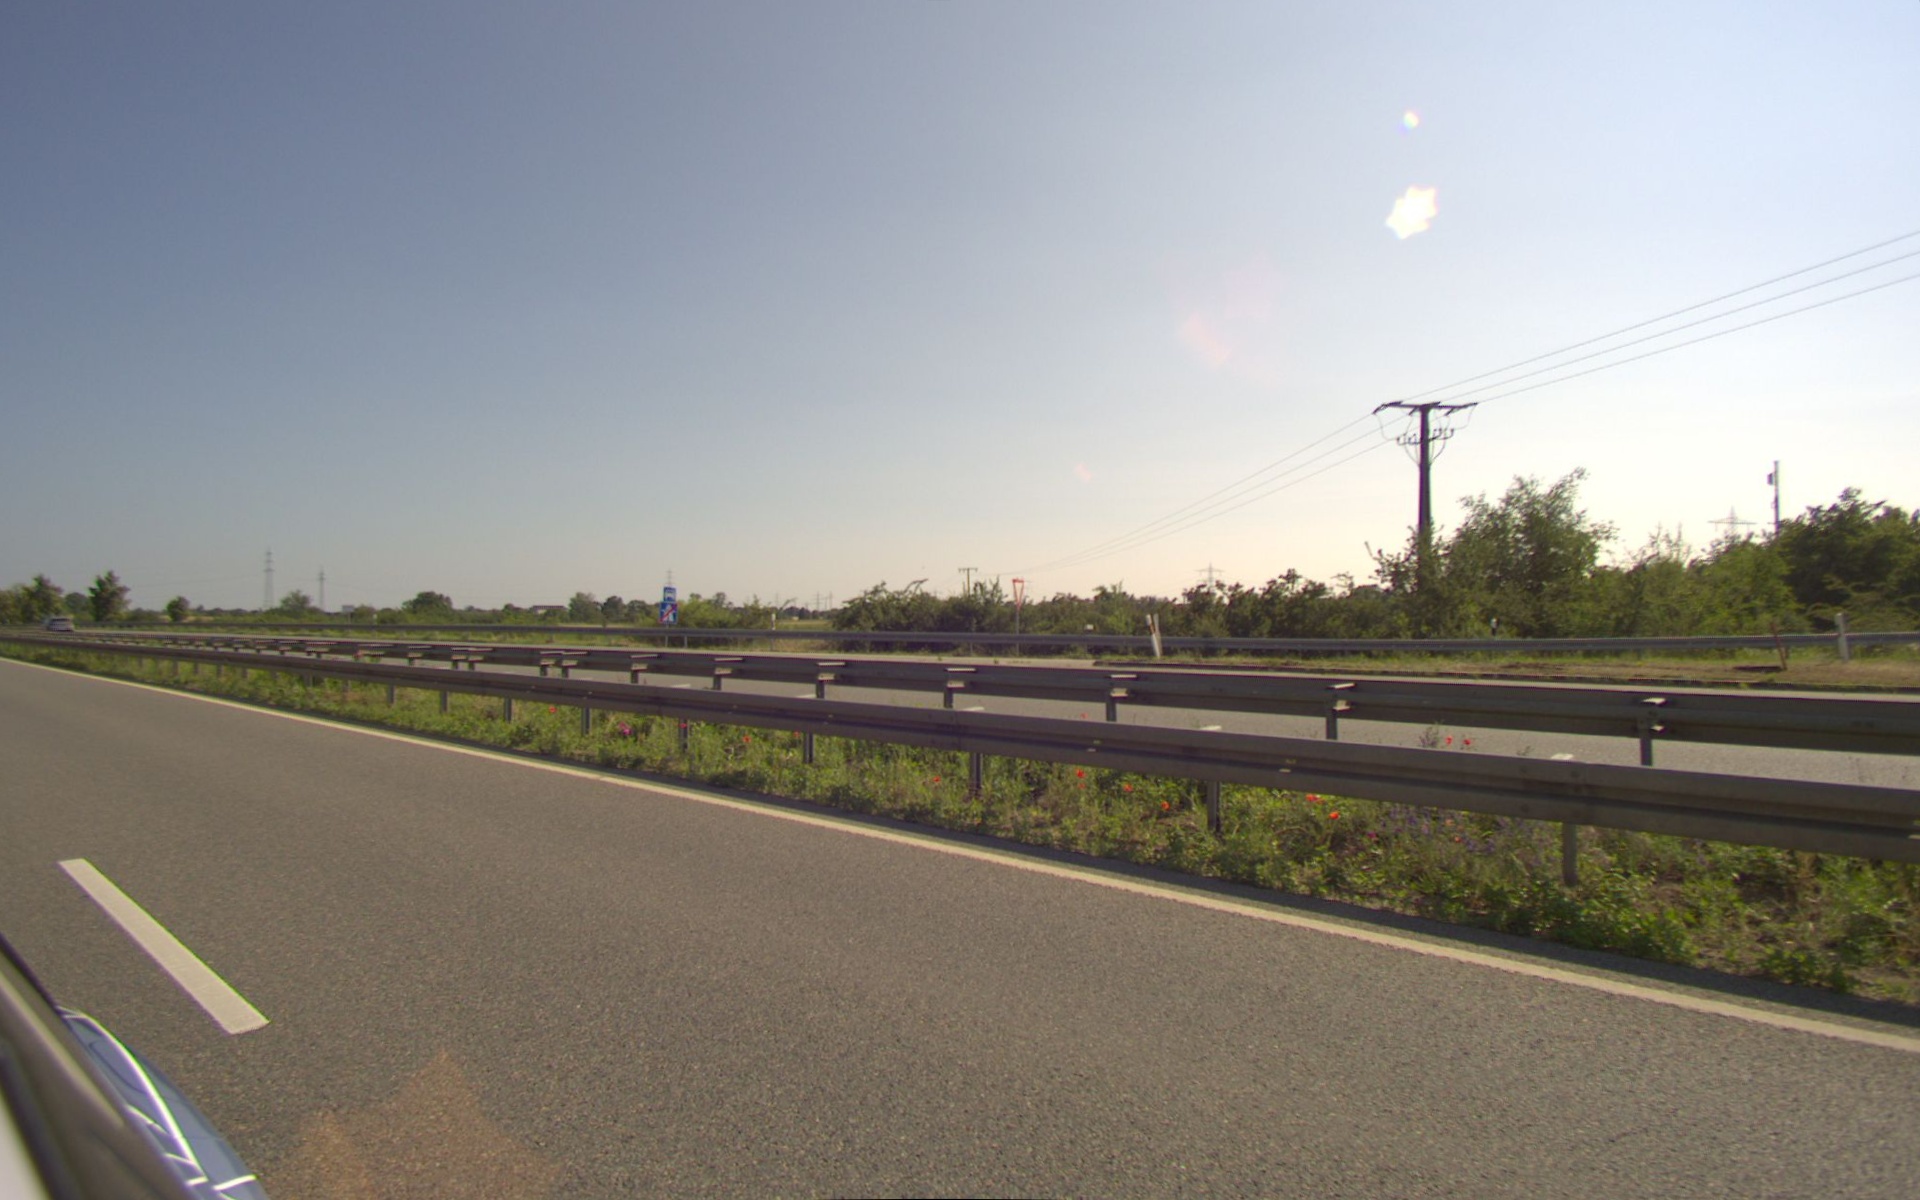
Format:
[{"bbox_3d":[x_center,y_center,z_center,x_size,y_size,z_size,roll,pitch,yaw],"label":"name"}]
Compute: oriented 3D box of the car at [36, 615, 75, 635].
[{"bbox_3d":[-75.489,2.080,84.441,4.616,1.496,1.683,-1,2,40],"label":"car"}]
